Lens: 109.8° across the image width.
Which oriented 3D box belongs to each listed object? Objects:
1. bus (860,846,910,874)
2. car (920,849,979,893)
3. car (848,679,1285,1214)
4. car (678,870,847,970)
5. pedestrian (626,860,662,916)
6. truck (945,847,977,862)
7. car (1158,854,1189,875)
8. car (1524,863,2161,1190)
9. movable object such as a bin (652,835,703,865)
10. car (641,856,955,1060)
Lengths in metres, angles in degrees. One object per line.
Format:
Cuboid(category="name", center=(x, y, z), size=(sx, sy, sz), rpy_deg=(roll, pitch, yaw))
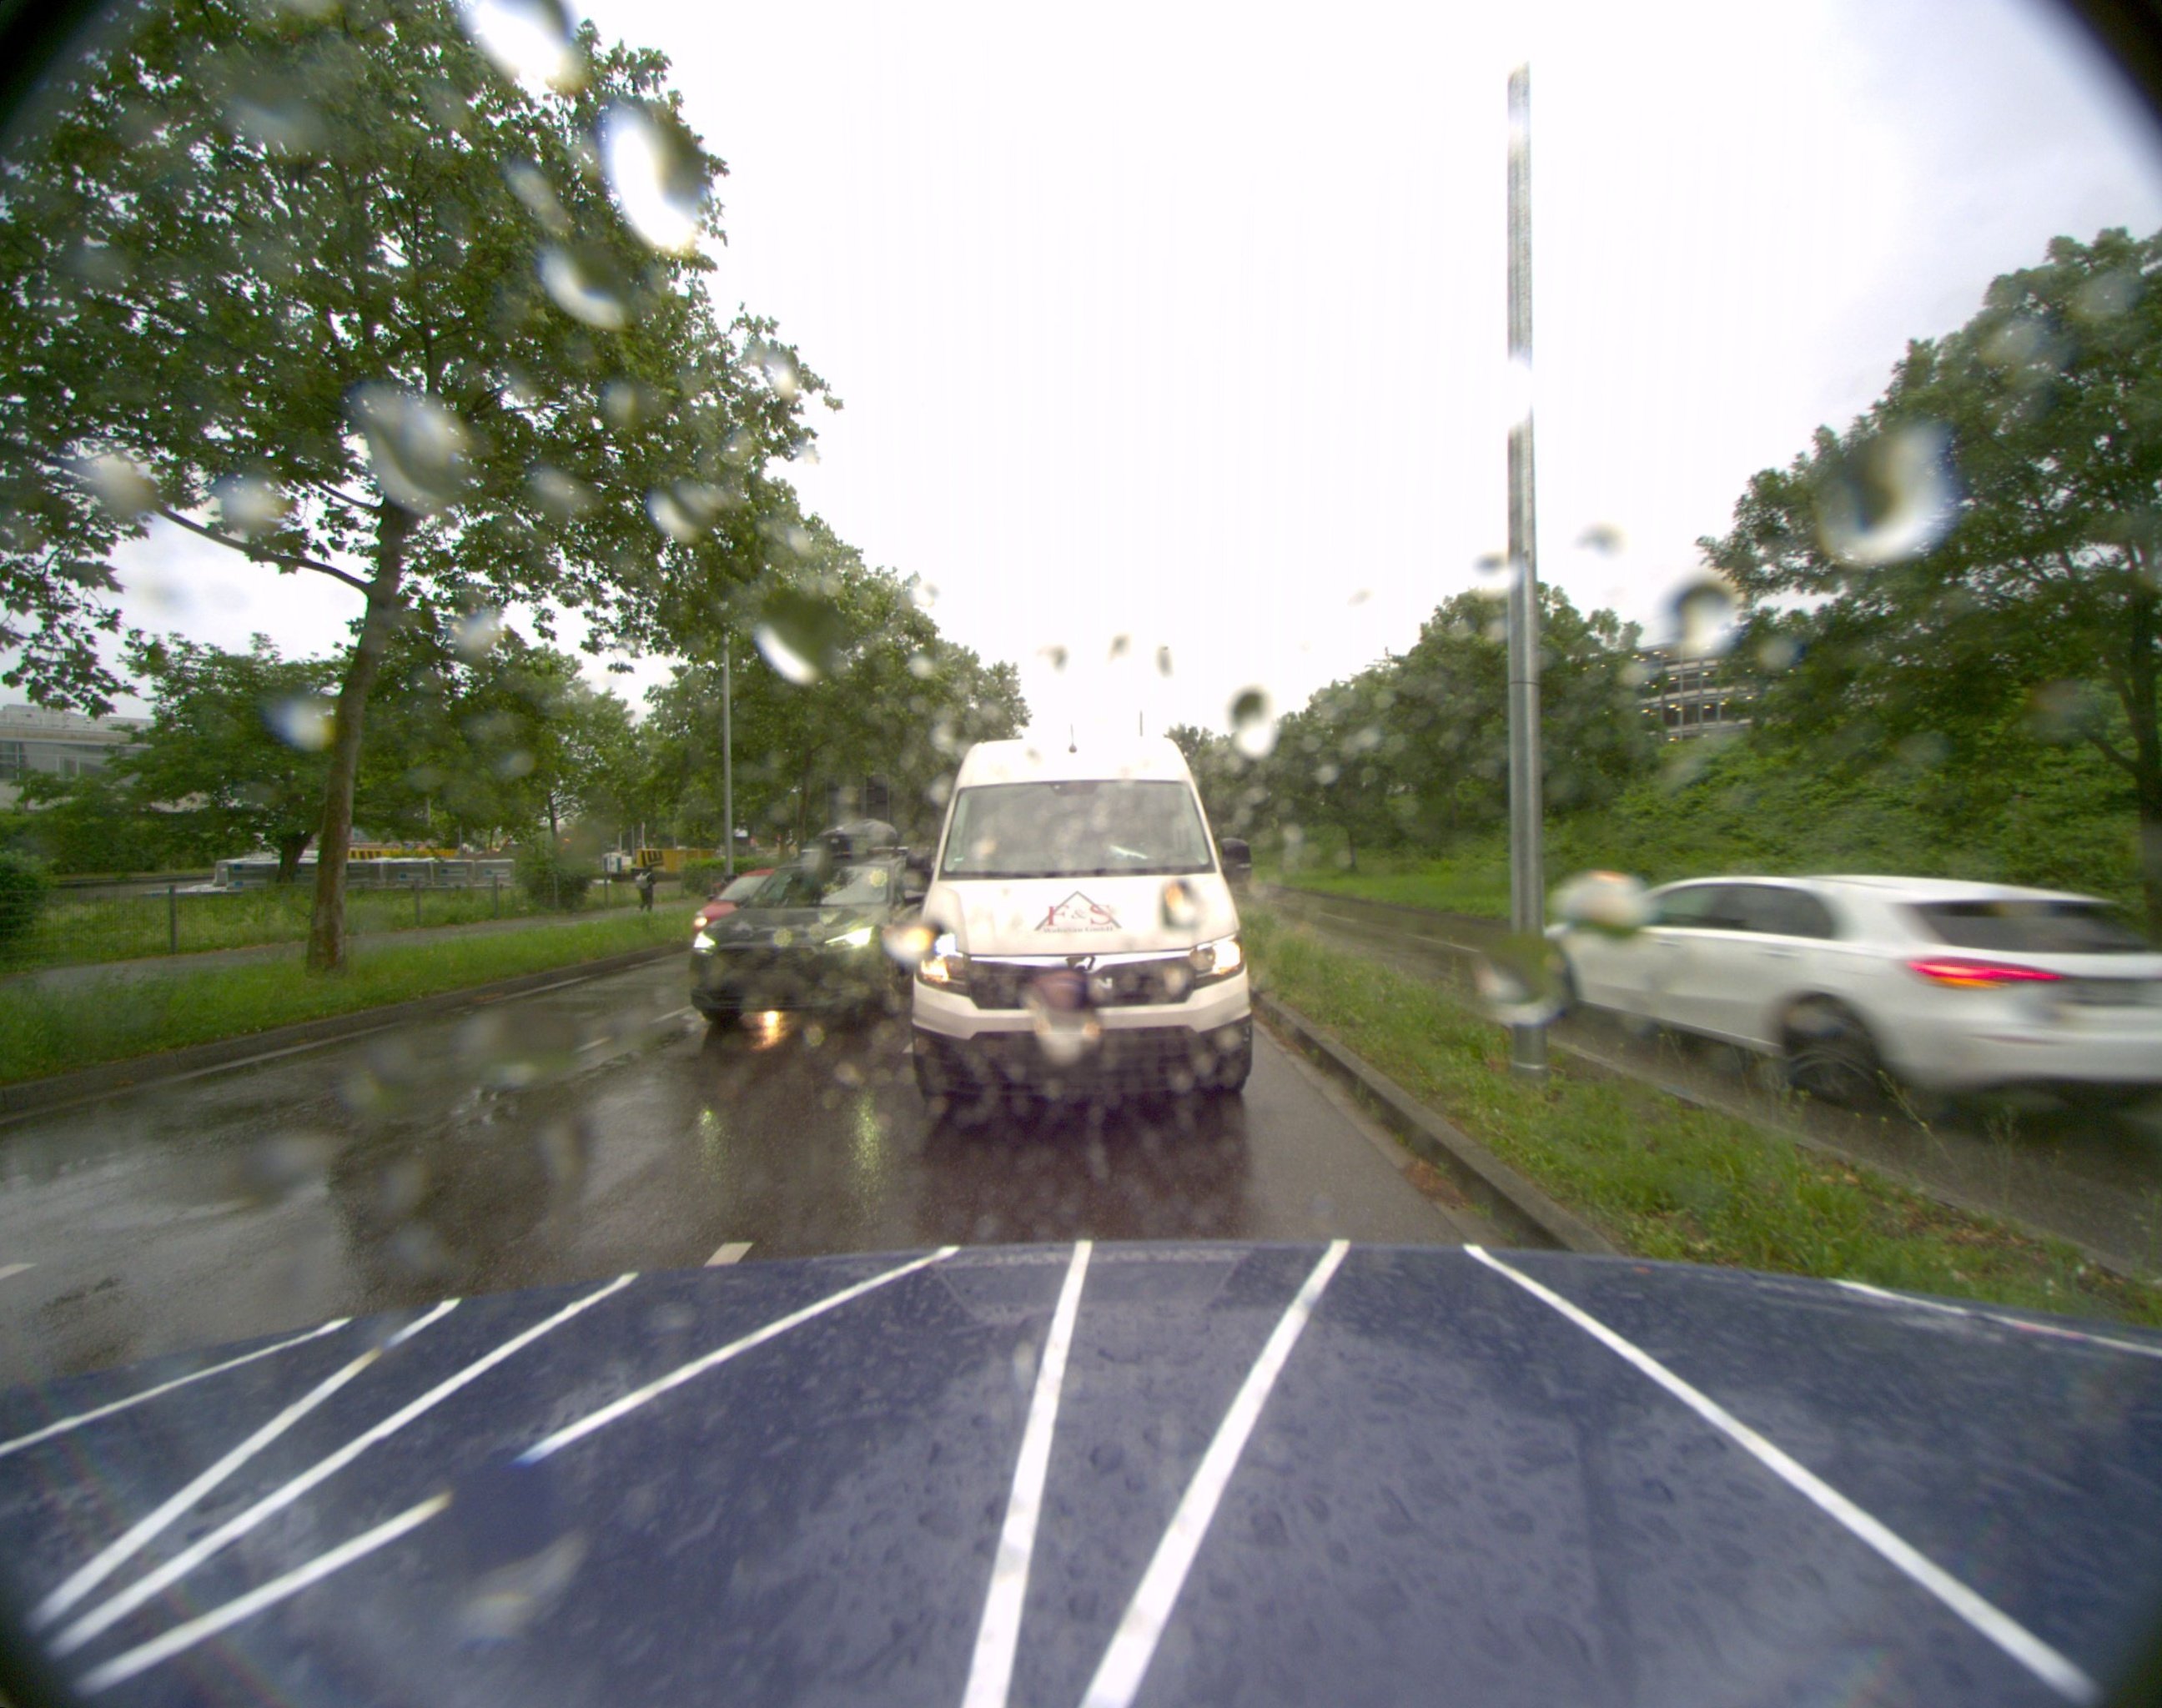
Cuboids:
Cuboid(category="bus", center=(-19.137, 0.569, 74.384), size=(4.370, 2.553, 1.711), rpy_deg=(-2, 1, 0))
Cuboid(category="car", center=(-5.607, 0.707, 32.761), size=(1.679, 1.675, 4.148), rpy_deg=(-3, 0, 1))
Cuboid(category="car", center=(-0.110, 0.431, 6.450), size=(2.027, 2.498, 5.695), rpy_deg=(-1, 0, -1))
Cuboid(category="car", center=(-5.537, 1.076, 13.666), size=(1.573, 1.454, 3.389), rpy_deg=(-2, 0, 0))
Cuboid(category="pedestrian", center=(-13.554, 1.042, 23.578), size=(0.646, 1.707, 0.656), rpy_deg=(-2, 1, 1))
Cuboid(category="truck", center=(-20.981, 0.090, 132.612), size=(5.061, 2.363, 1.792), rpy_deg=(-3, 1, -30))
Cuboid(category="car", center=(7.209, 0.811, 59.272), size=(1.891, 1.510, 4.301), rpy_deg=(1, 0, 0))
Cuboid(category="car", center=(5.466, 0.903, 5.834), size=(1.739, 1.511, 4.047), rpy_deg=(2, 1, 0))
Cuboid(category="movable object such as a bin", center=(-47.710, -0.465, 89.971), size=(4.947, 3.415, 1.913), rpy_deg=(-3, 1, -37))
Cuboid(category="car", center=(-2.774, 0.890, 8.679), size=(1.894, 1.688, 4.423), rpy_deg=(-1, 0, 0))
